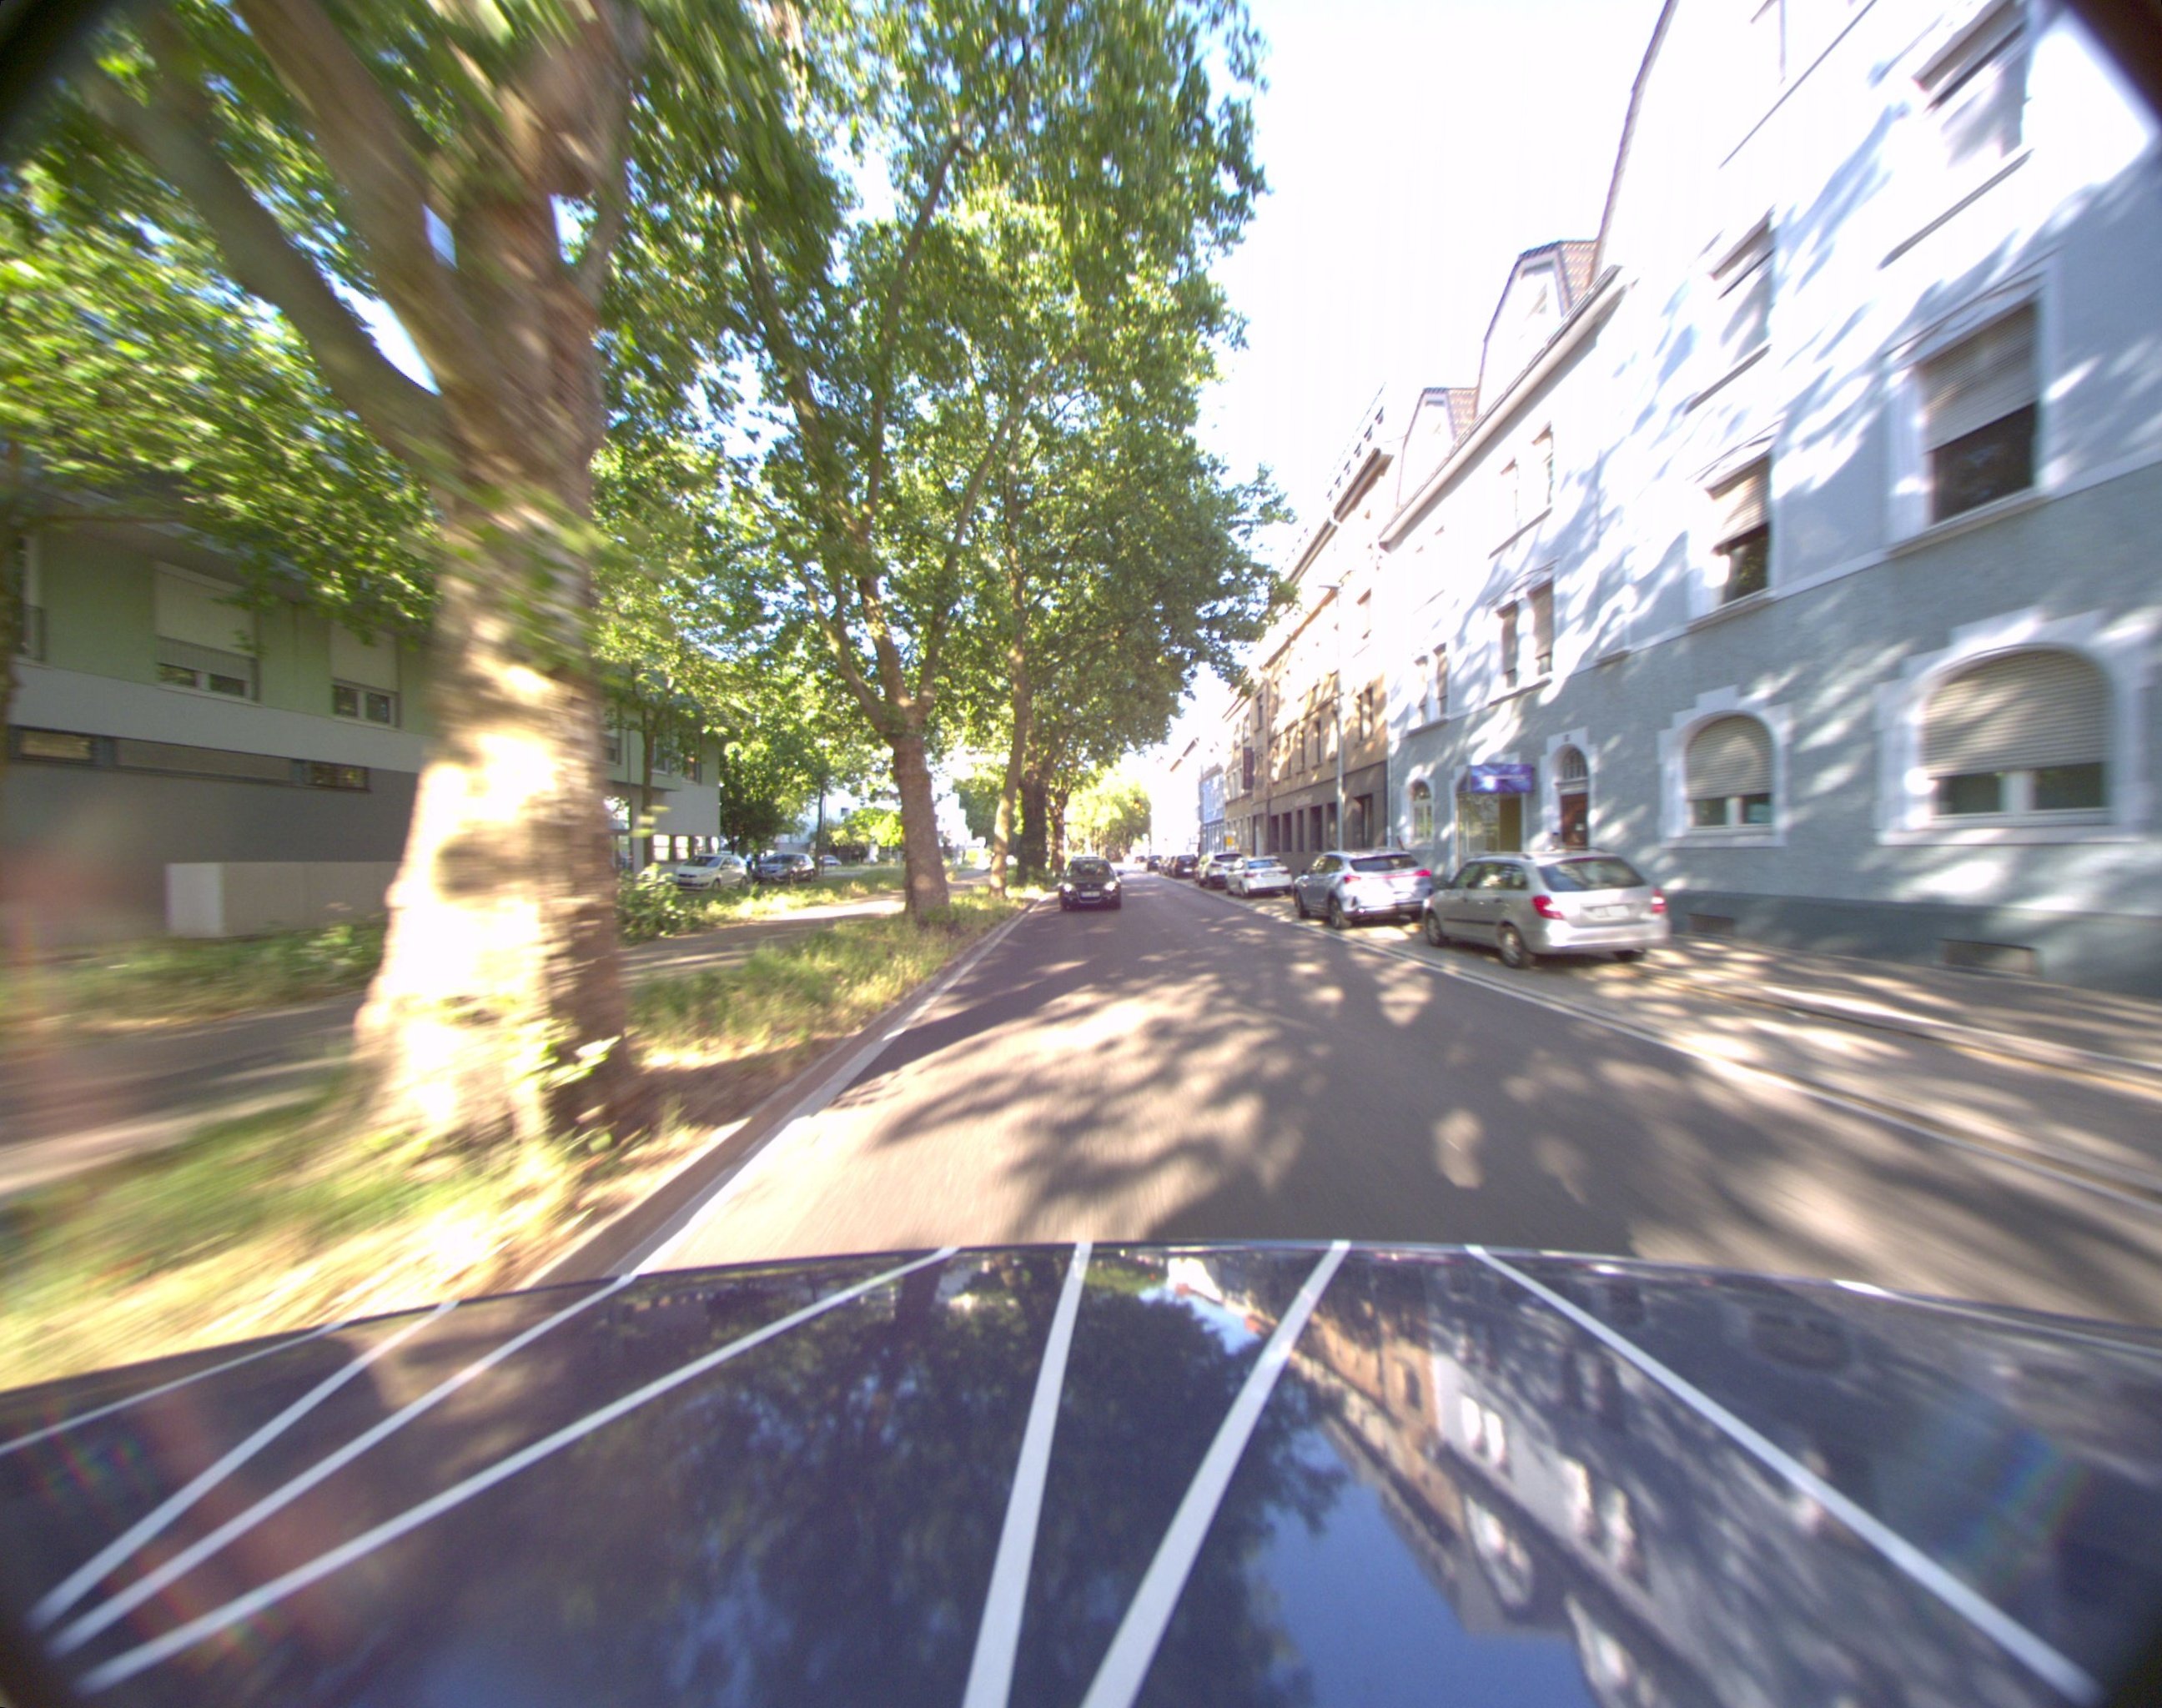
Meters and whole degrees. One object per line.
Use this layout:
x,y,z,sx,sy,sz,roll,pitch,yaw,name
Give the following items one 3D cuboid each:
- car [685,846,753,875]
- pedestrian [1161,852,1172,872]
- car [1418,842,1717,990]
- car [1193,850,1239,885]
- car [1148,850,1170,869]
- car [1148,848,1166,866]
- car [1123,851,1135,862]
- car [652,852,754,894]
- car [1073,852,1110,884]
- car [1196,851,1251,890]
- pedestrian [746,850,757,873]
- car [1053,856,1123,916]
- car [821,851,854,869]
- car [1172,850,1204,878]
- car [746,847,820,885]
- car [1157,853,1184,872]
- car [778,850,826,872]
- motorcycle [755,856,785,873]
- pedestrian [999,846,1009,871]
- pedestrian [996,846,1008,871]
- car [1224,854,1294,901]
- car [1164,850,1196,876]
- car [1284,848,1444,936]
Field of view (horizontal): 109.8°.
-29.033,0.590,61.183,1.997,2.083,5.061,-1,-3,17,car
6.641,0.629,59.086,0.865,1.561,0.706,0,1,4,pedestrian
6.412,0.698,10.635,1.682,1.632,3.985,-2,0,2,car
6.691,0.636,37.990,1.682,1.583,3.756,-2,0,2,car
7.429,0.492,72.544,1.910,1.663,4.494,-2,0,5,car
7.797,0.277,78.231,1.668,1.808,4.005,-2,0,3,car
8.003,0.359,127.795,1.898,1.782,4.001,0,0,3,car
-14.907,0.706,30.254,1.863,1.534,4.319,0,0,1,car
0.503,0.647,36.113,1.654,1.445,3.535,0,0,1,car
6.200,0.674,33.372,1.682,1.575,4.200,-2,0,2,car
-25.662,0.595,59.180,0.560,1.741,0.532,-1,2,12,pedestrian
0.257,0.877,23.020,1.844,1.536,4.524,-2,0,2,car
-24.404,0.647,76.131,1.942,1.649,4.467,2,-3,-34,car
6.749,0.602,48.234,1.681,1.595,3.706,-2,0,4,car
-14.622,0.573,37.581,1.909,1.760,4.319,0,0,1,car
7.362,0.664,62.773,1.654,1.478,4.262,-2,0,0,car
-21.738,0.561,59.342,1.673,1.513,3.992,0,-3,12,car
-24.562,0.812,60.057,0.950,1.241,2.319,0,0,13,motorcycle
-6.016,0.344,59.354,0.785,1.869,0.803,0,1,-7,pedestrian
-6.078,0.335,58.408,0.839,1.921,0.781,0,1,-9,pedestrian
6.345,0.783,27.483,1.682,1.487,3.872,-2,0,2,car
6.850,0.591,52.914,1.786,1.663,4.156,-2,0,2,car
6.059,0.726,16.896,1.912,1.632,4.577,-2,0,2,car
